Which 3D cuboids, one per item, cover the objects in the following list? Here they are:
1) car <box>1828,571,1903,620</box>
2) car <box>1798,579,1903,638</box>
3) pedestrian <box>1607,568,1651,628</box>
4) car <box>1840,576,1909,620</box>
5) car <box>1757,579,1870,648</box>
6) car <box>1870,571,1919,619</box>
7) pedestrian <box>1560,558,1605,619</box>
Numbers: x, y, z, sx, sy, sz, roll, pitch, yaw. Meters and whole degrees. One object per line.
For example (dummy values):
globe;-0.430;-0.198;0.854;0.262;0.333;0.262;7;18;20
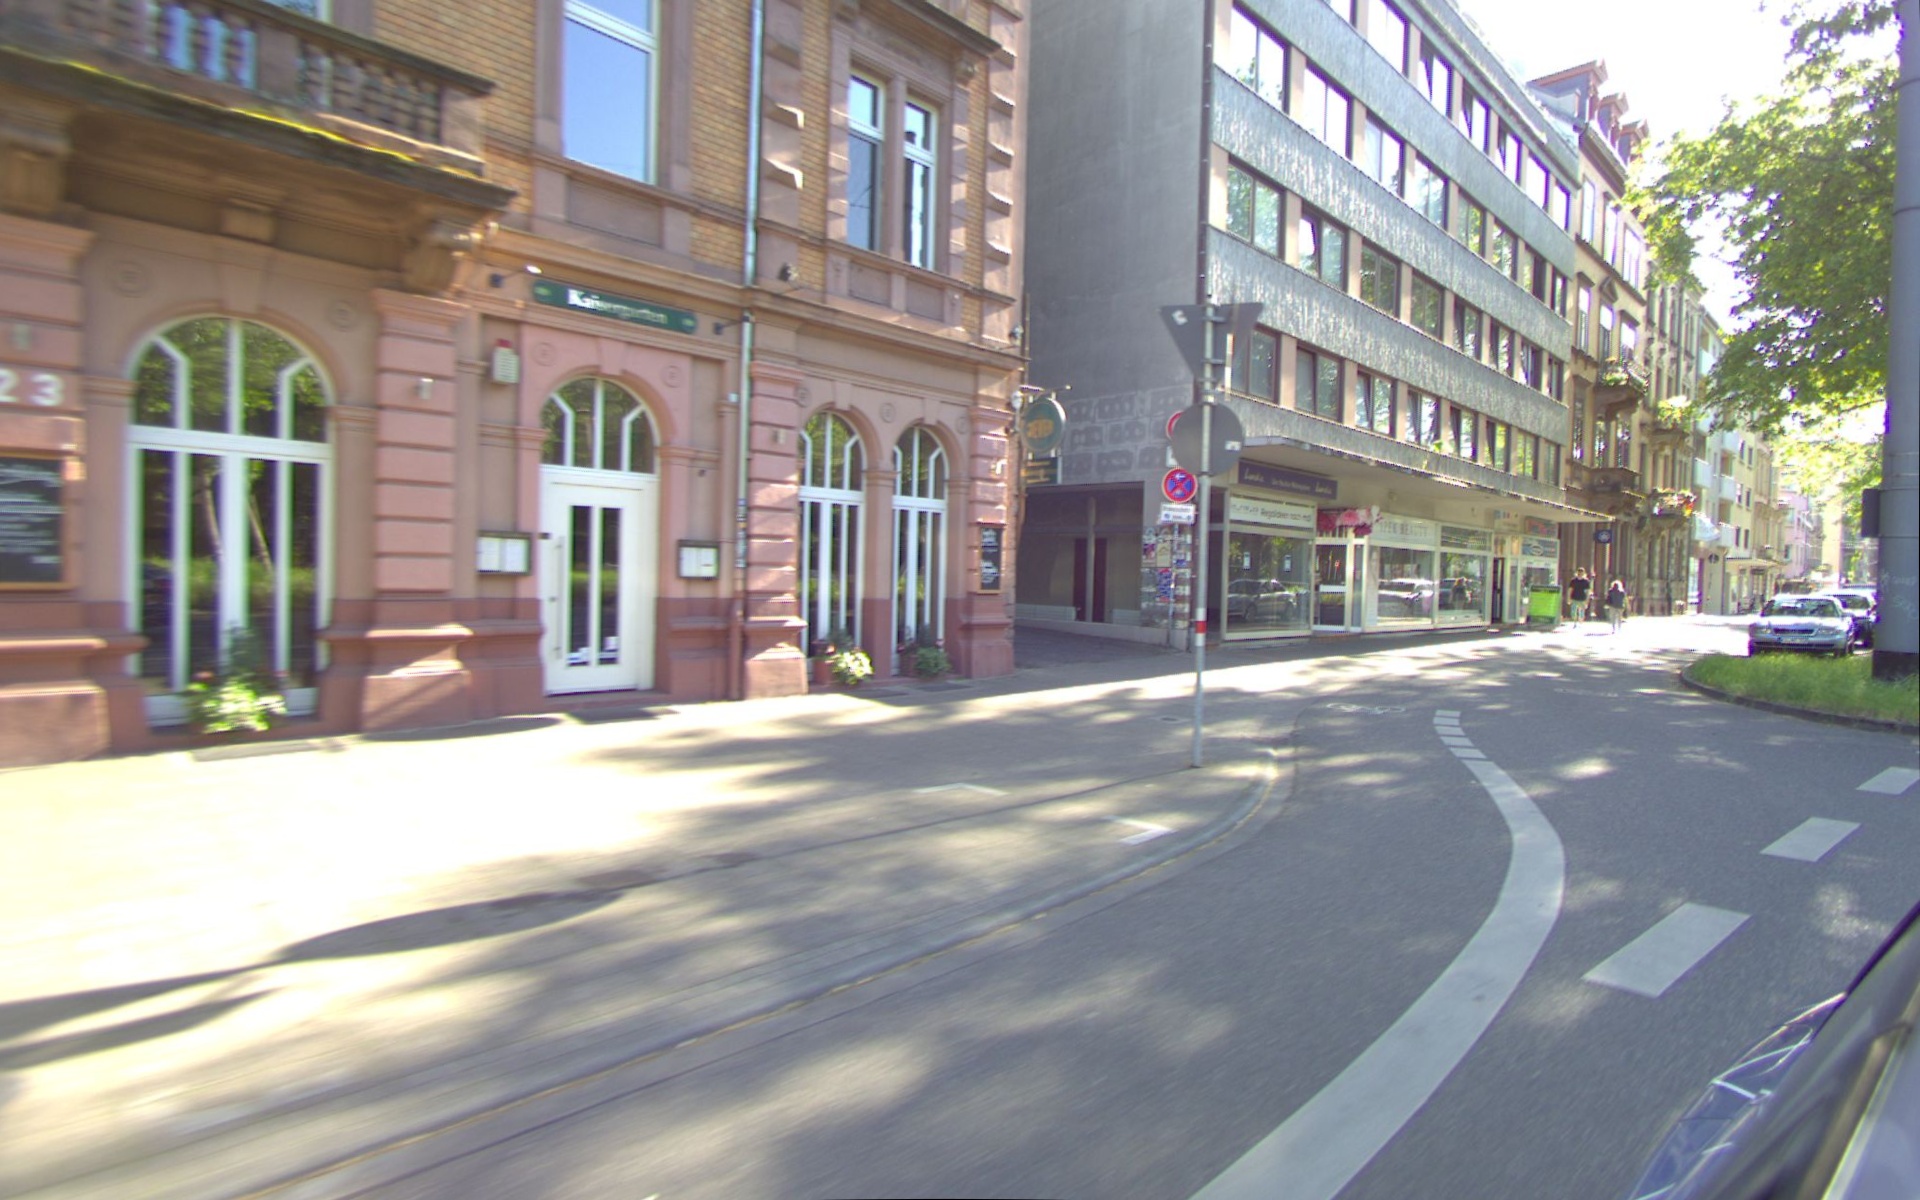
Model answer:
car;29.413;-0.155;32.830;1.677;1.485;4.596;0;1;44
car;24.943;0.201;28.285;4.838;1.508;1.807;-1;1;-44
pedestrian;20.295;-0.050;30.716;0.703;1.783;1.000;1;-1;-44
car;34.135;-0.079;37.743;1.705;1.521;4.287;0;0;45
car;19.721;0.277;23.328;1.701;1.442;4.444;0;0;44
car;37.996;-0.182;40.656;4.720;1.839;1.866;0;0;-44
pedestrian;19.414;-0.376;31.548;0.703;1.862;1.001;0;2;-43
